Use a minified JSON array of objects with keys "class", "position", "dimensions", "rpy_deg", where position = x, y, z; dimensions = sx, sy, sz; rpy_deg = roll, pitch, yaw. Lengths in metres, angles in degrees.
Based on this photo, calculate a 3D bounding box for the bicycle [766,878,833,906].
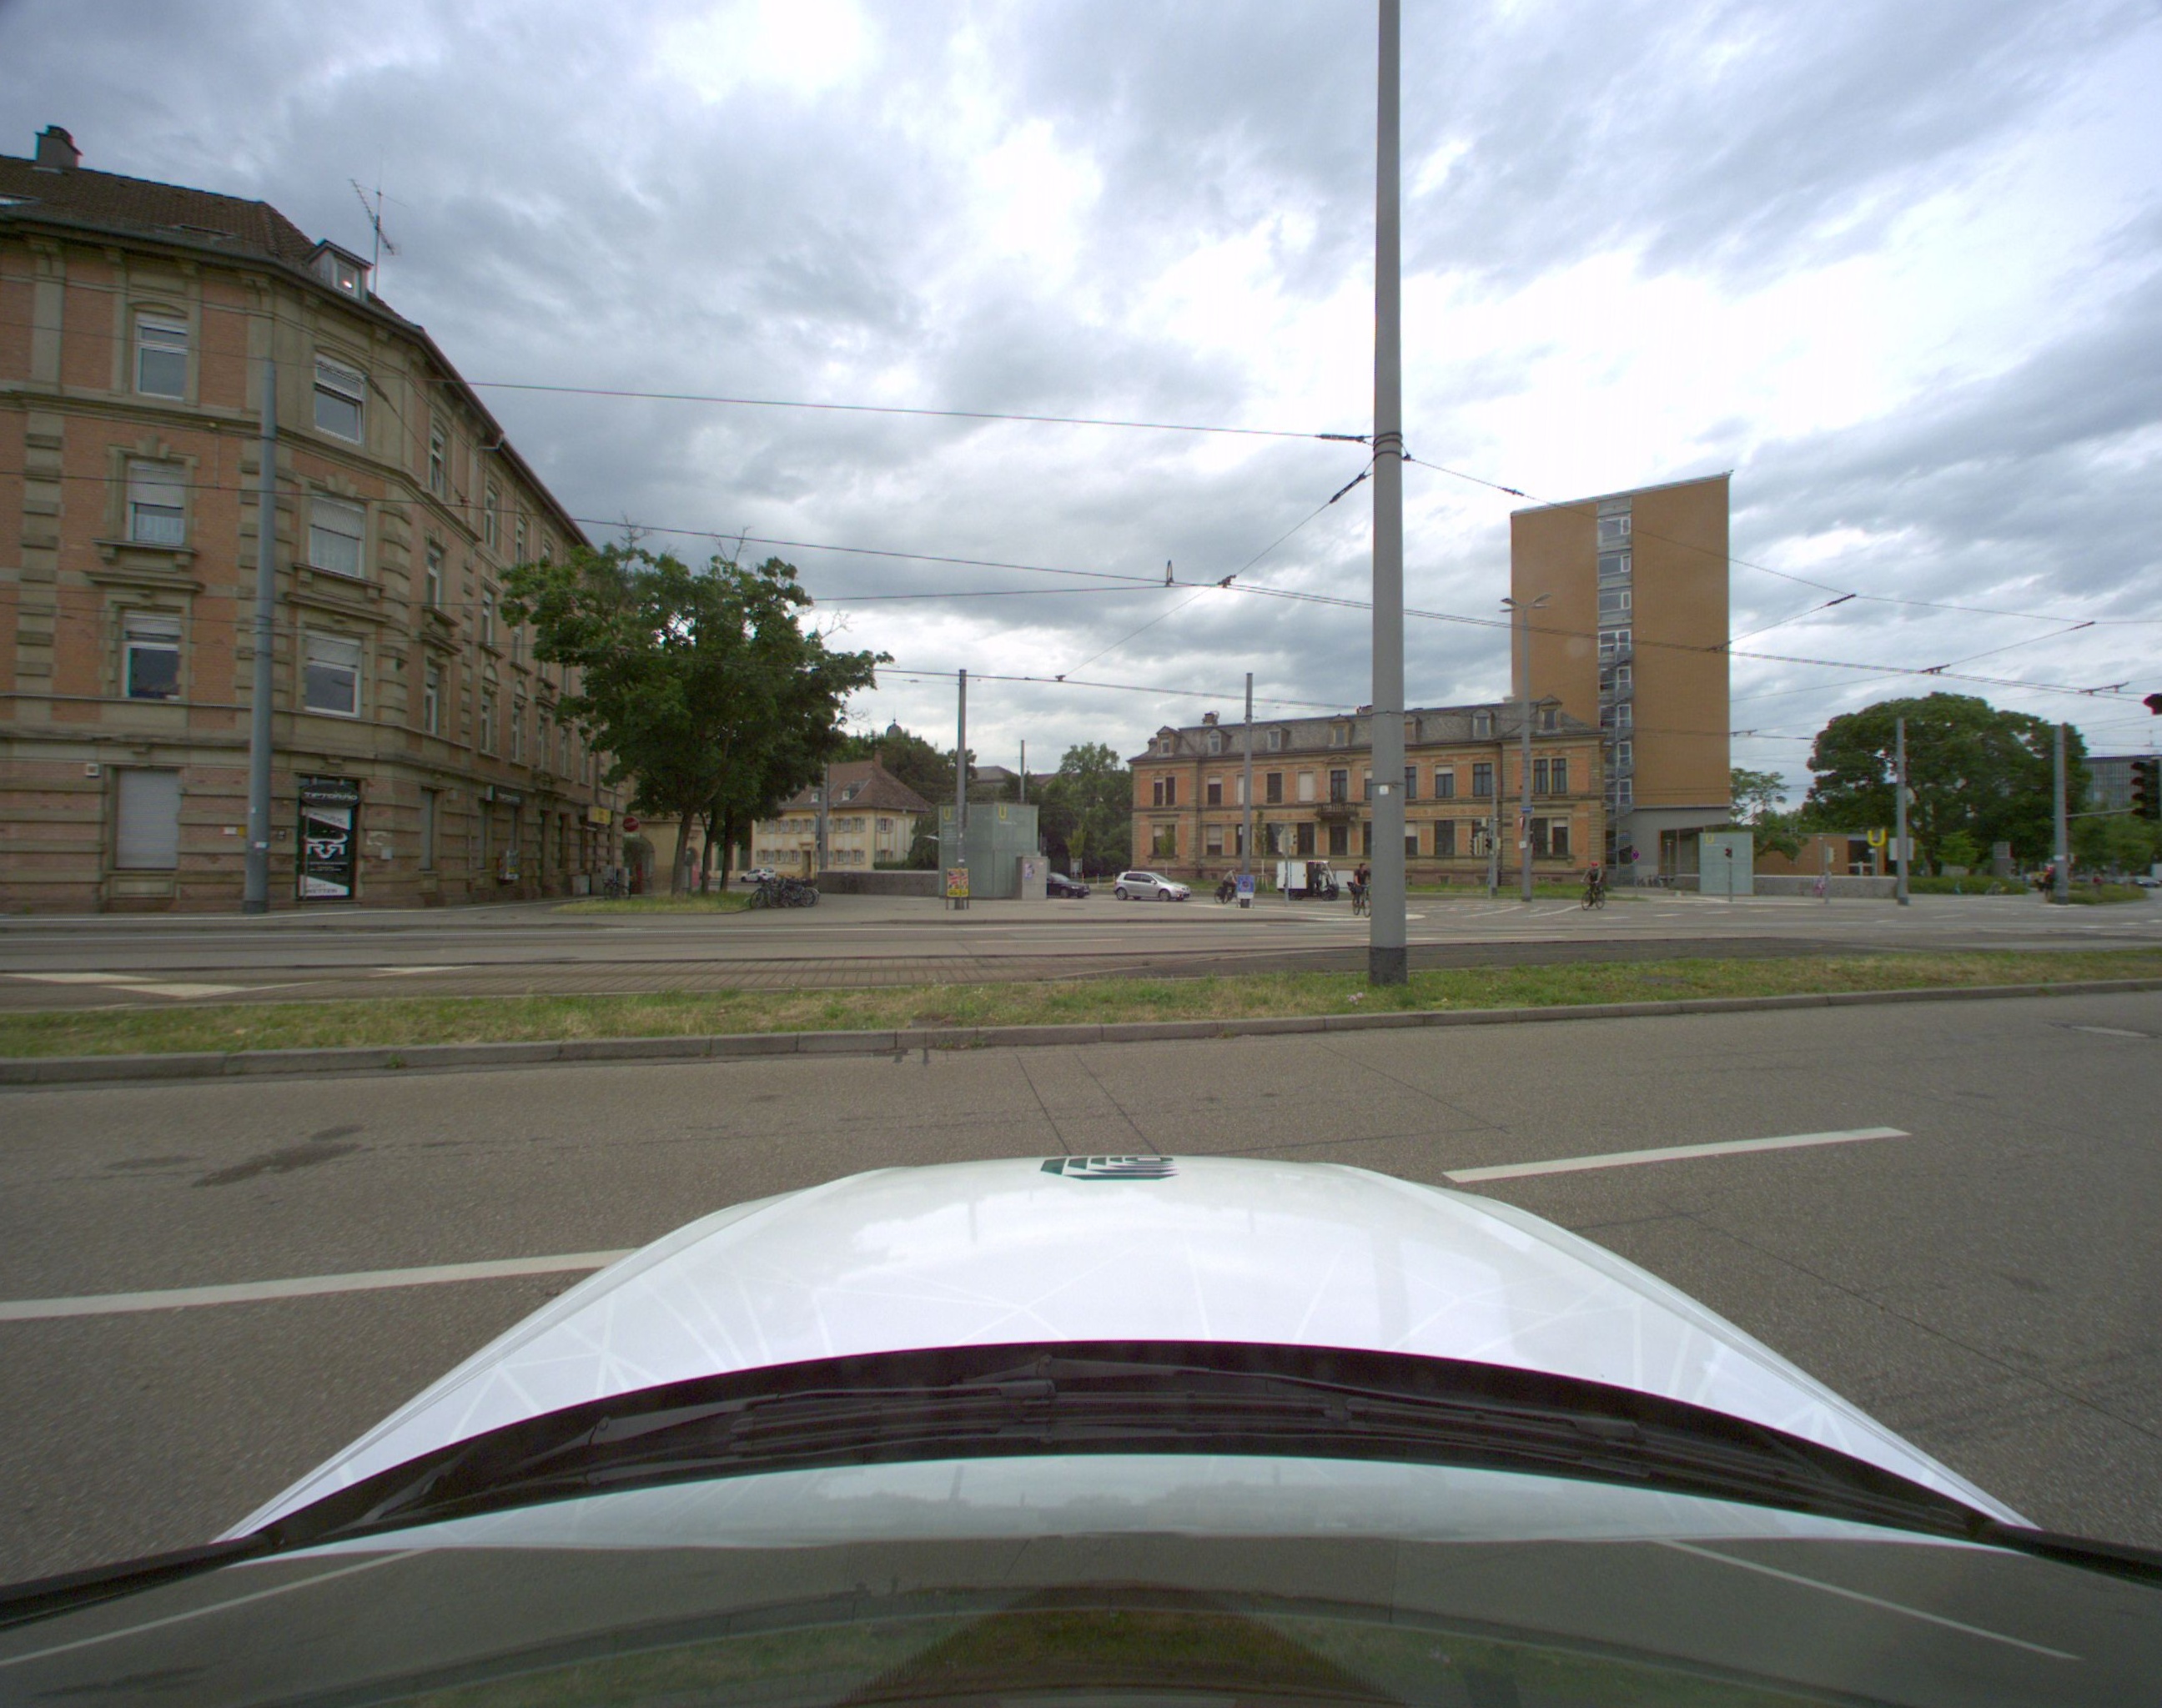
[{"class":"bicycle","position":[-10.148,1.378,29.423],"dimensions":[2.211,0.987,0.499],"rpy_deg":[1,-1,-7]}]

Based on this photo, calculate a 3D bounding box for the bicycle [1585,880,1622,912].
[{"class":"bicycle","position":[20.136,1.598,31.429],"dimensions":[0.816,1.208,2.246],"rpy_deg":[-1,-2,24]}]

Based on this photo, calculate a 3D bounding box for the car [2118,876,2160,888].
[{"class":"car","position":[136.183,3.610,104.865],"dimensions":[1.759,1.464,4.023],"rpy_deg":[0,-1,26]}]

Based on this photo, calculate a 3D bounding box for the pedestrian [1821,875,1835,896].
[{"class":"pedestrian","position":[47.392,2.011,51.669],"dimensions":[0.567,1.336,0.502],"rpy_deg":[0,-1,24]}]

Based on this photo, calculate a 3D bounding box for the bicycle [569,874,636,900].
[{"class":"bicycle","position":[-17.493,1.200,29.786],"dimensions":[1.979,0.914,0.661],"rpy_deg":[1,-1,-4]}]

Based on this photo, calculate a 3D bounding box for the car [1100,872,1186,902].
[{"class":"car","position":[3.167,1.653,41.865],"dimensions":[4.107,1.454,1.772],"rpy_deg":[0,-1,38]}]

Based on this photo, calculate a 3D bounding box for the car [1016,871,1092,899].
[{"class":"car","position":[-1.515,1.677,45.222],"dimensions":[4.090,1.449,1.707],"rpy_deg":[0,-1,39]}]

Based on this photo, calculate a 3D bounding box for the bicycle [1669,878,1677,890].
[{"class":"bicycle","position":[53.863,2.731,74.122],"dimensions":[0.476,1.049,1.437],"rpy_deg":[0,-1,32]}]

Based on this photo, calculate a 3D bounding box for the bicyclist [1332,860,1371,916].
[{"class":"bicyclist","position":[8.980,1.111,27.074],"dimensions":[0.814,1.798,1.025],"rpy_deg":[-1,-1,-13]}]

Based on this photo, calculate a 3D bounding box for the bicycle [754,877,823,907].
[{"class":"bicycle","position":[-10.275,1.332,28.627],"dimensions":[2.211,1.006,0.479],"rpy_deg":[1,-1,-7]}]

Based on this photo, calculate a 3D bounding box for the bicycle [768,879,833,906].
[{"class":"bicycle","position":[-10.539,1.432,30.628],"dimensions":[2.211,0.987,0.609],"rpy_deg":[1,-1,-7]}]

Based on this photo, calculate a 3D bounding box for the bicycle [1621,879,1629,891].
[{"class":"bicycle","position":[50.725,2.878,75.944],"dimensions":[0.565,1.106,1.437],"rpy_deg":[0,-1,32]}]

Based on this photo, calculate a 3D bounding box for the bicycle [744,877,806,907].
[{"class":"bicycle","position":[-10.251,1.260,27.301],"dimensions":[1.862,0.987,0.498],"rpy_deg":[1,-1,-8]}]

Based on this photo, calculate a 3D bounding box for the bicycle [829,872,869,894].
[{"class":"bicycle","position":[-12.239,1.524,43.002],"dimensions":[2.332,1.115,0.745],"rpy_deg":[0,-1,37]}]

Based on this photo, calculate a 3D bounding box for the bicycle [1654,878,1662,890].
[{"class":"bicycle","position":[52.888,2.764,74.663],"dimensions":[0.503,1.049,1.437],"rpy_deg":[0,-1,32]}]

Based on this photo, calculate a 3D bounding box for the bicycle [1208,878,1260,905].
[{"class":"bicycle","position":[7.027,1.704,37.460],"dimensions":[2.169,1.208,0.863],"rpy_deg":[-1,-2,35]}]

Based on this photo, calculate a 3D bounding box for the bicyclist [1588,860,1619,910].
[{"class":"bicyclist","position":[20.097,1.202,31.343],"dimensions":[0.821,1.892,1.055],"rpy_deg":[-1,-2,25]}]

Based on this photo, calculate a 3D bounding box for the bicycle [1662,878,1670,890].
[{"class":"bicycle","position":[53.418,2.745,74.400],"dimensions":[0.476,1.049,1.437],"rpy_deg":[0,-1,32]}]

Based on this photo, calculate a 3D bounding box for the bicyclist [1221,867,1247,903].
[{"class":"bicyclist","position":[7.037,1.408,37.469],"dimensions":[0.906,1.623,0.860],"rpy_deg":[-1,-2,35]}]

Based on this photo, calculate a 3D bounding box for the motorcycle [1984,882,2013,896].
[{"class":"motorcycle","position":[71.804,2.721,63.723],"dimensions":[1.734,1.111,0.511],"rpy_deg":[1,-1,-3]}]

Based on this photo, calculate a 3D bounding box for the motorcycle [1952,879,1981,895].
[{"class":"motorcycle","position":[69.713,2.598,64.125],"dimensions":[1.454,1.268,0.515],"rpy_deg":[0,-1,29]}]

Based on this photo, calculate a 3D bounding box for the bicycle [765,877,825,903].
[{"class":"bicycle","position":[-11.675,1.465,33.307],"dimensions":[2.211,1.039,0.687],"rpy_deg":[1,-1,-6]}]

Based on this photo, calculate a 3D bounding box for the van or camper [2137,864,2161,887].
[{"class":"van or camper","position":[147.303,2.876,110.698],"dimensions":[2.366,3.124,5.535],"rpy_deg":[0,-1,26]}]

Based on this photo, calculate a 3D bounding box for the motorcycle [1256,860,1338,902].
[{"class":"motorcycle","position":[11.000,1.346,41.515],"dimensions":[3.640,2.014,1.706],"rpy_deg":[0,-1,33]}]

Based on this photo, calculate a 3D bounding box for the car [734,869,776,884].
[{"class":"car","position":[-32.568,2.242,81.351],"dimensions":[4.134,1.449,1.707],"rpy_deg":[0,-1,31]}]

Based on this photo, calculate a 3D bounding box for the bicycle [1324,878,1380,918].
[{"class":"bicycle","position":[8.973,1.448,27.083],"dimensions":[0.814,1.243,1.990],"rpy_deg":[0,-2,-13]}]

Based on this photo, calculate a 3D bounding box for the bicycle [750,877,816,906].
[{"class":"bicycle","position":[-10.258,1.285,28.062],"dimensions":[2.029,0.987,0.520],"rpy_deg":[1,-1,-7]}]

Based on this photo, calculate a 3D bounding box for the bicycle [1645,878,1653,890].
[{"class":"bicycle","position":[52.328,2.761,75.011],"dimensions":[0.565,1.106,1.437],"rpy_deg":[0,-1,32]}]

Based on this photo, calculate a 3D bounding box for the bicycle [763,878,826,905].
[{"class":"bicycle","position":[-10.948,1.424,31.191],"dimensions":[2.211,0.987,0.499],"rpy_deg":[1,-1,-7]}]

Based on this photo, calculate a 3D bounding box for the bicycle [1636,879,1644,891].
[{"class":"bicycle","position":[51.741,2.888,75.331],"dimensions":[0.565,1.106,1.437],"rpy_deg":[0,-1,32]}]

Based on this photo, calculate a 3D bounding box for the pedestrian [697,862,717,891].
[{"class":"pedestrian","position":[-22.232,1.337,48.378],"dimensions":[0.845,1.722,0.948],"rpy_deg":[1,-1,-13]}]

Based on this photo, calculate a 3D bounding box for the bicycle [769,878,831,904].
[{"class":"bicycle","position":[-11.088,1.471,32.174],"dimensions":[2.211,0.987,0.584],"rpy_deg":[1,-1,-7]}]
